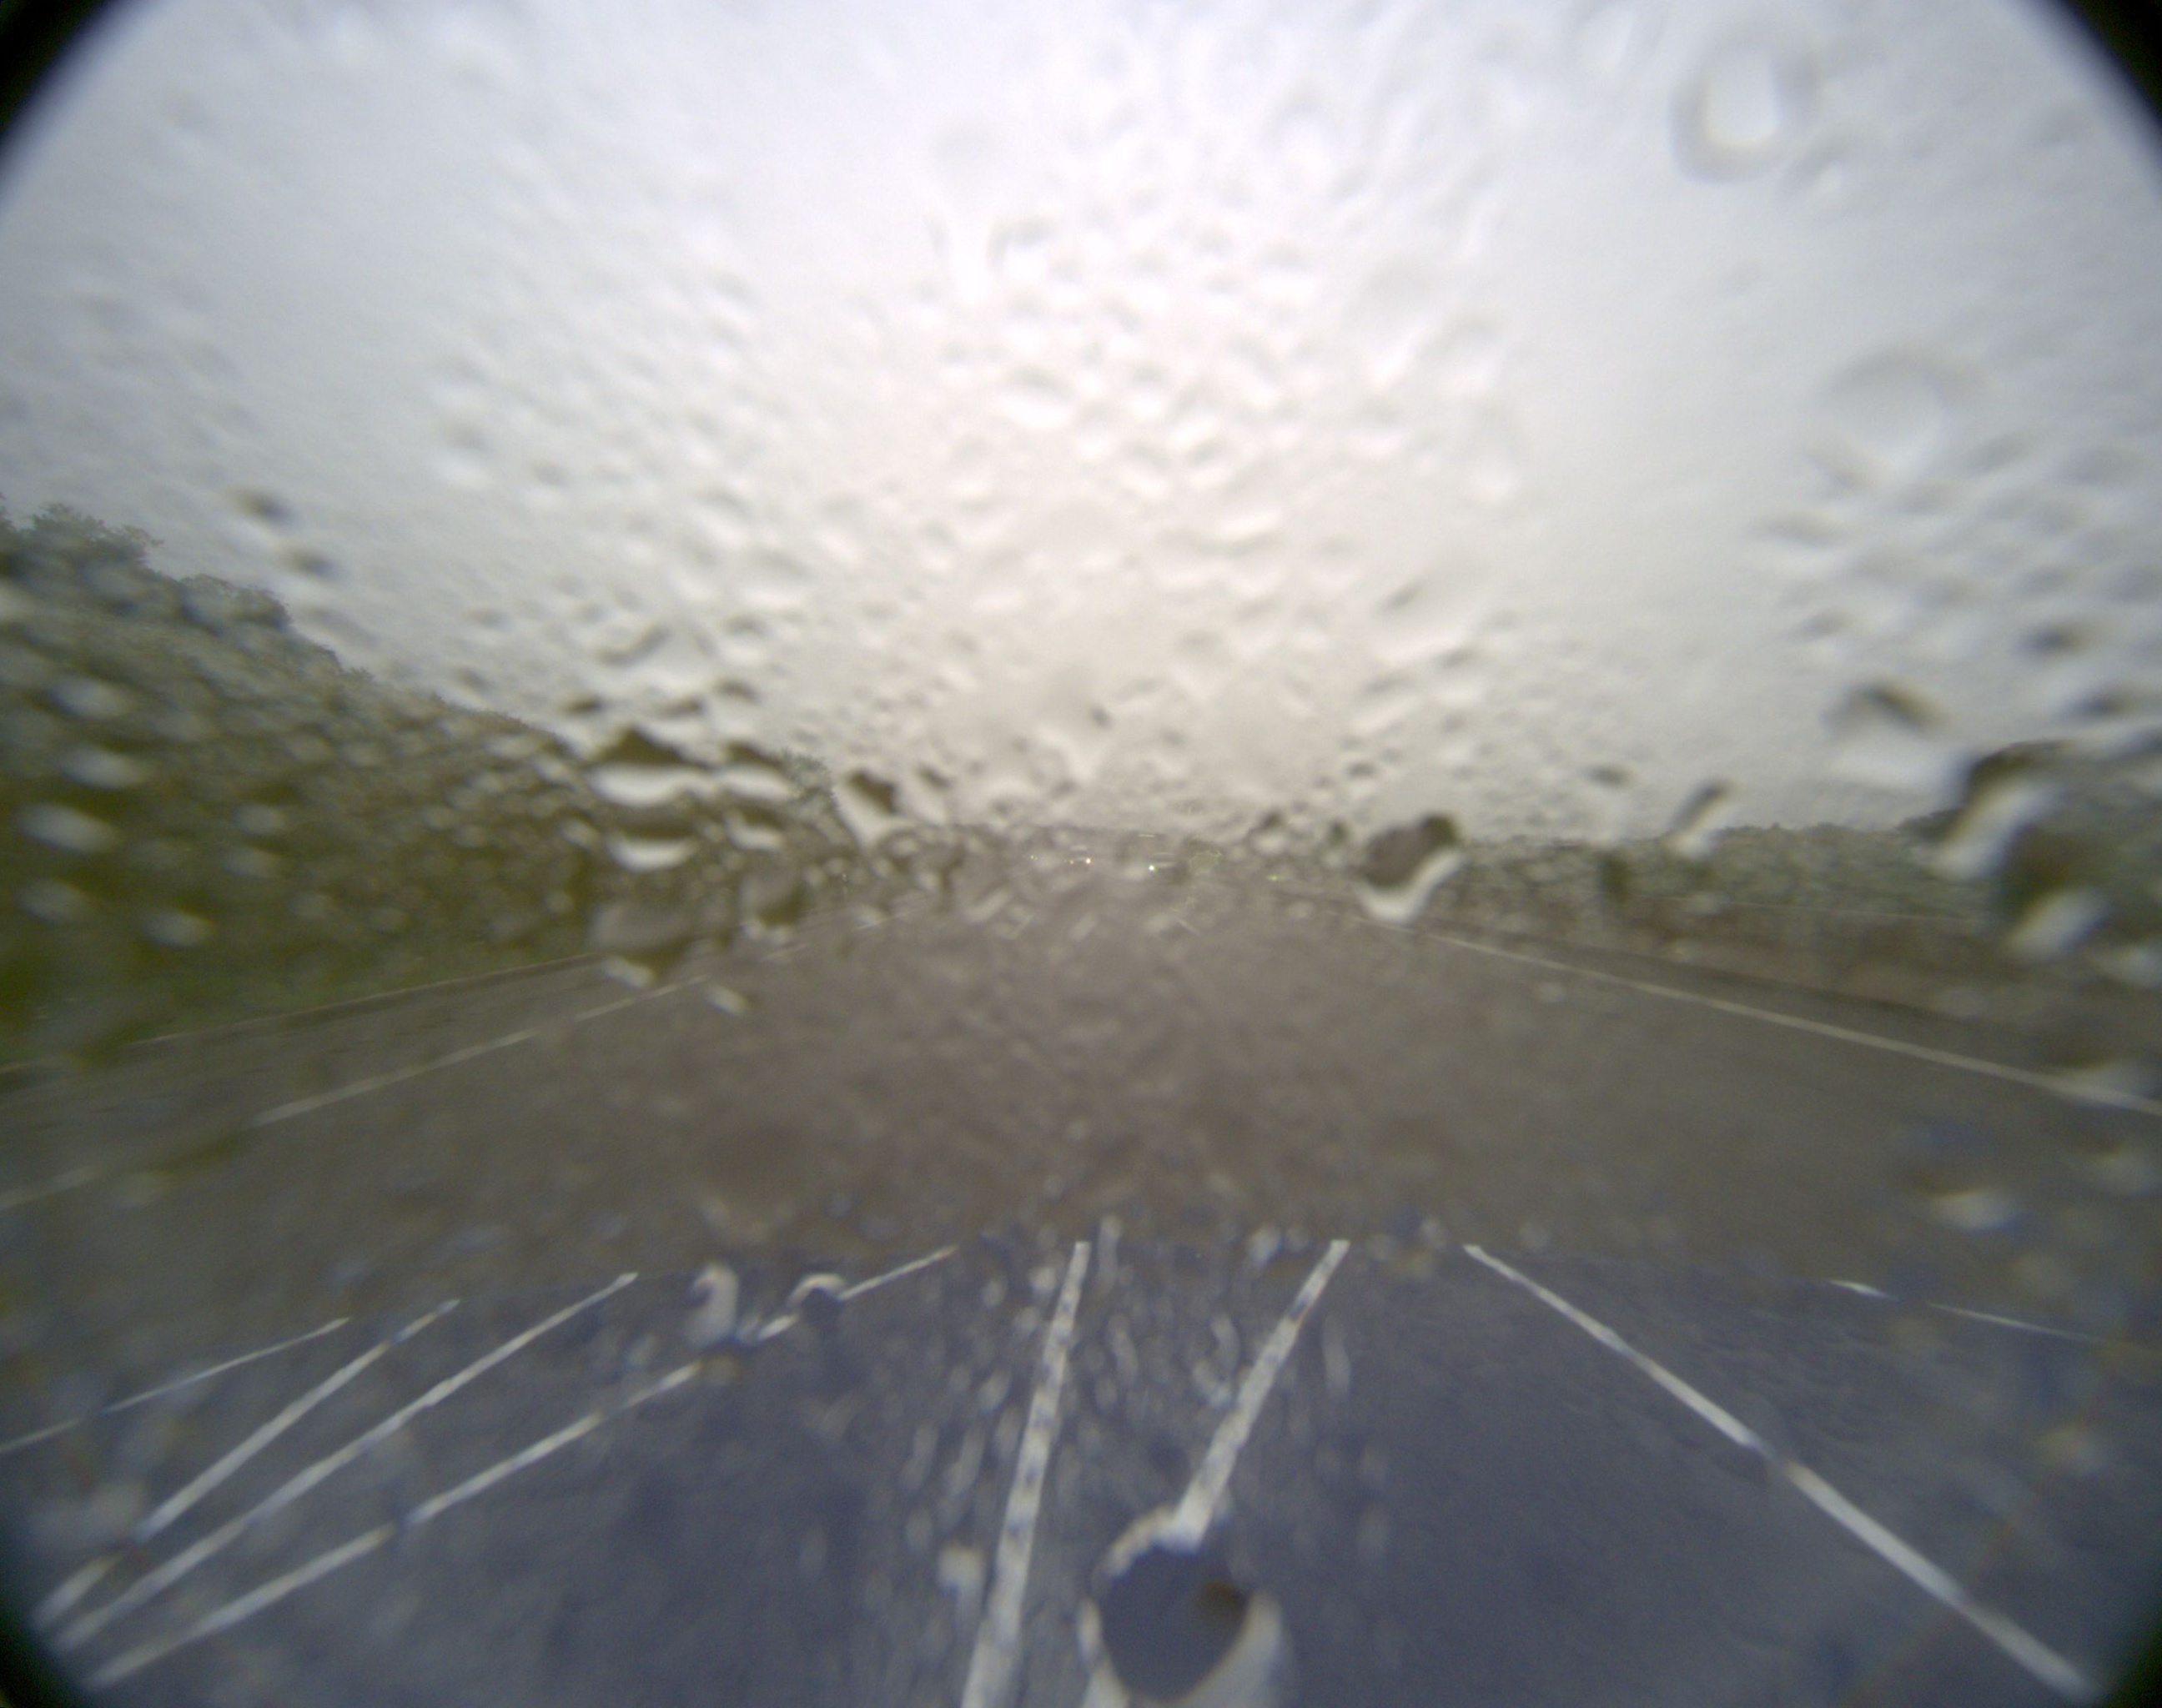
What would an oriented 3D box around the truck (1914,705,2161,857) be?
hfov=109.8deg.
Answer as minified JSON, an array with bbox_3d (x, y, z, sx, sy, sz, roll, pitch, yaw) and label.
[{"bbox_3d":[18.356,-1.206,12.311,2.179,2.434,6.790,-2,2,-1],"label":"truck"}]

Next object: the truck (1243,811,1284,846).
[{"bbox_3d":[19.499,-2.721,81.481,2.957,3.602,5.461,-2,2,0],"label":"truck"}]

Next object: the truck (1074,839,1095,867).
[{"bbox_3d":[0.327,-0.159,80.562,1.999,2.700,7.996,-2,2,-1],"label":"truck"}]

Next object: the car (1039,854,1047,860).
[{"bbox_3d":[-9.841,0.781,195.244,1.999,1.543,3.998,-2,1,-5],"label":"car"}]

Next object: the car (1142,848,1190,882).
[{"bbox_3d":[4.322,0.533,39.074,1.998,1.608,3.999,-2,1,0],"label":"car"}]

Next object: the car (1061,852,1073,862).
[{"bbox_3d":[-2.327,0.536,127.327,1.999,1.521,3.999,-2,1,-1],"label":"car"}]

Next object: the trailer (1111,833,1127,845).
[{"bbox_3d":[11.347,-4.590,228.643,2.996,3.126,15.710,-2,2,-3],"label":"trailer"}]

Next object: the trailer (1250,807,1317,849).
[{"bbox_3d":[19.509,-2.482,74.121,3.000,3.619,12.485,-2,2,0],"label":"trailer"}]
